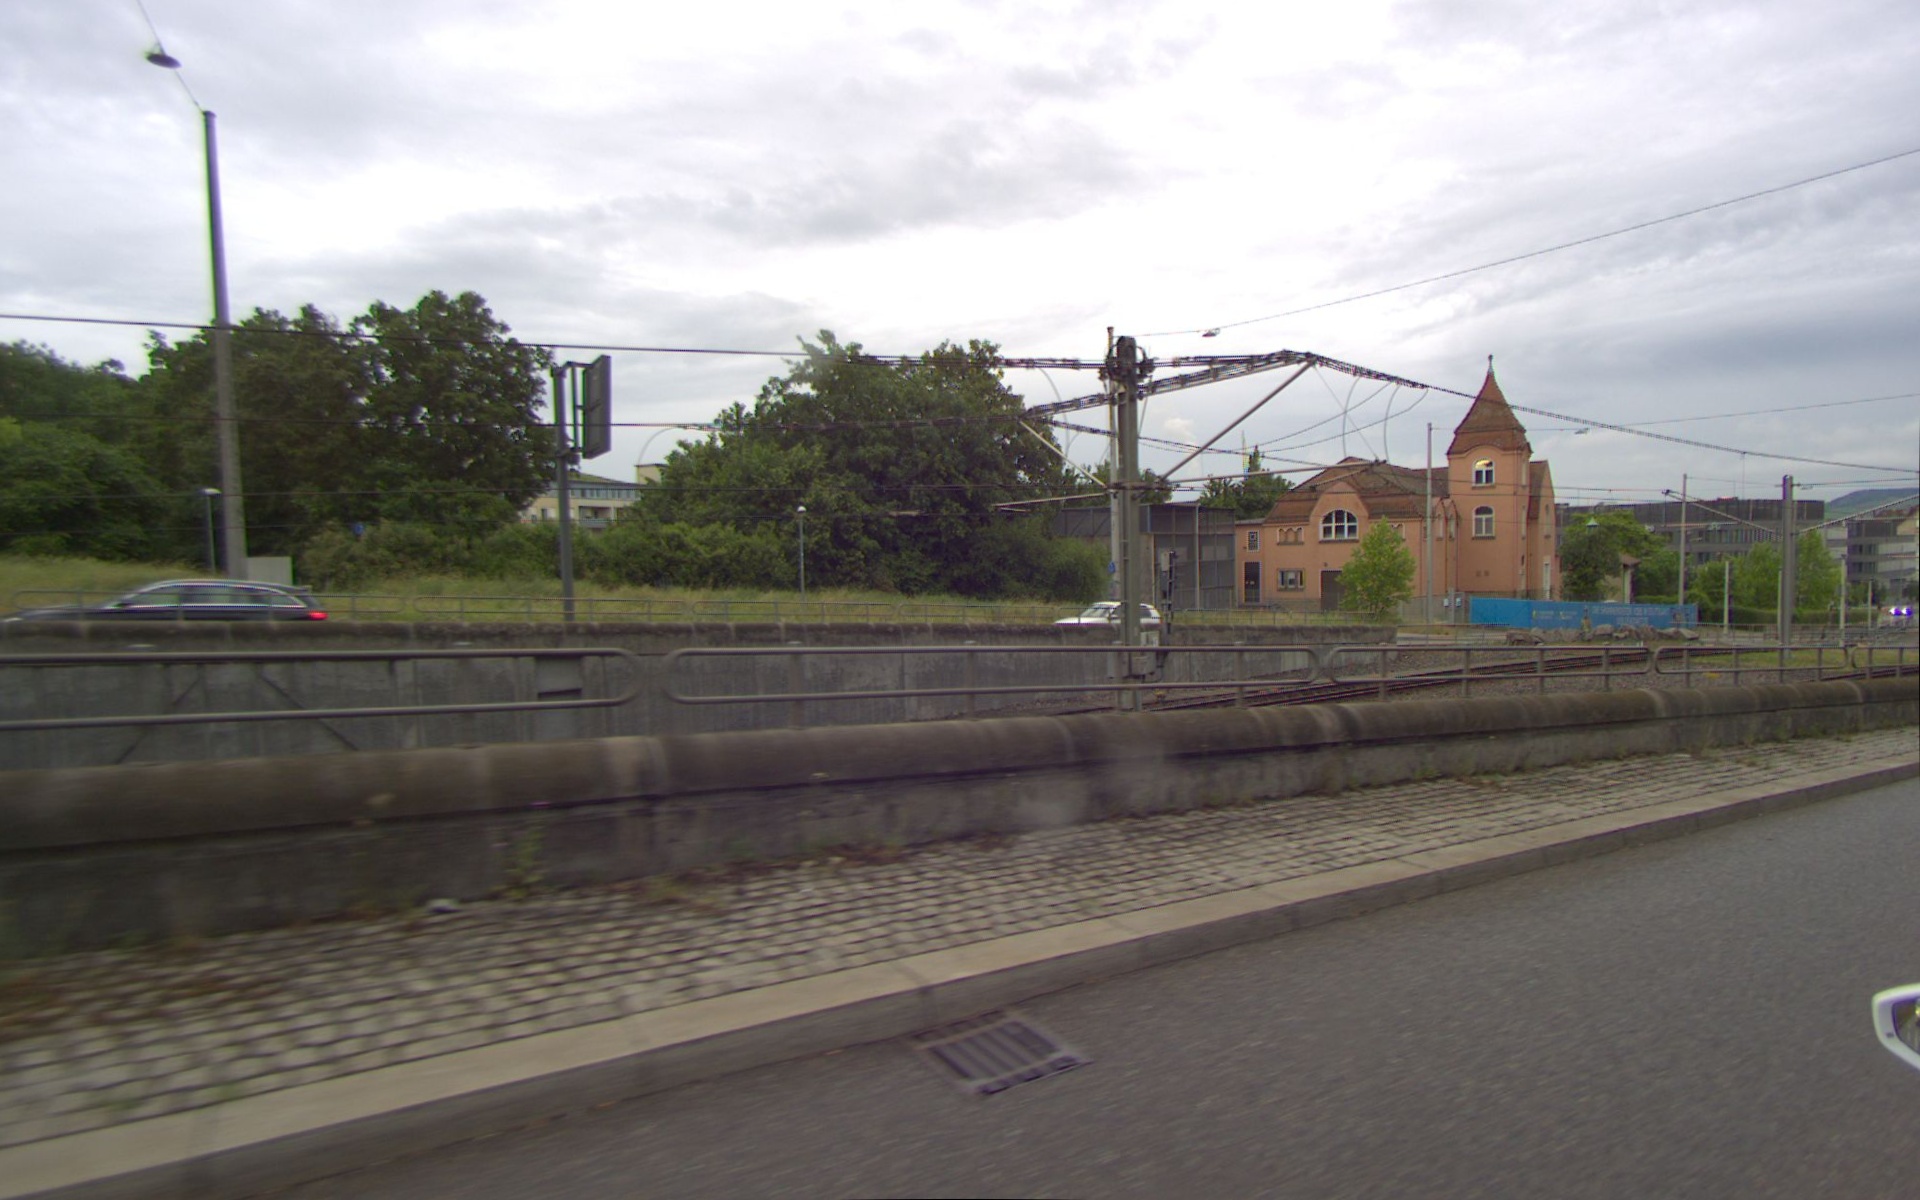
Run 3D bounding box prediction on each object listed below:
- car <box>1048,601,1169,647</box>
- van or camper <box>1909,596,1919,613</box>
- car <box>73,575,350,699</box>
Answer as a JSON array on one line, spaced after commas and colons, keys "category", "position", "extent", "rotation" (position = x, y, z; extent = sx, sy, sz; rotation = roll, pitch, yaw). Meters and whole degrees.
[{"category": "car", "position": [4.592, 0.702, 30.988], "extent": [3.519, 1.309, 1.547], "rotation": [0, 2, -32]}, {"category": "van or camper", "position": [143.204, 0.685, 149.788], "extent": [3.968, 2.376, 1.976], "rotation": [1, -1, -41]}, {"category": "car", "position": [-13.881, 0.633, 18.886], "extent": [3.995, 1.997, 1.878], "rotation": [1, 3, -36]}]
